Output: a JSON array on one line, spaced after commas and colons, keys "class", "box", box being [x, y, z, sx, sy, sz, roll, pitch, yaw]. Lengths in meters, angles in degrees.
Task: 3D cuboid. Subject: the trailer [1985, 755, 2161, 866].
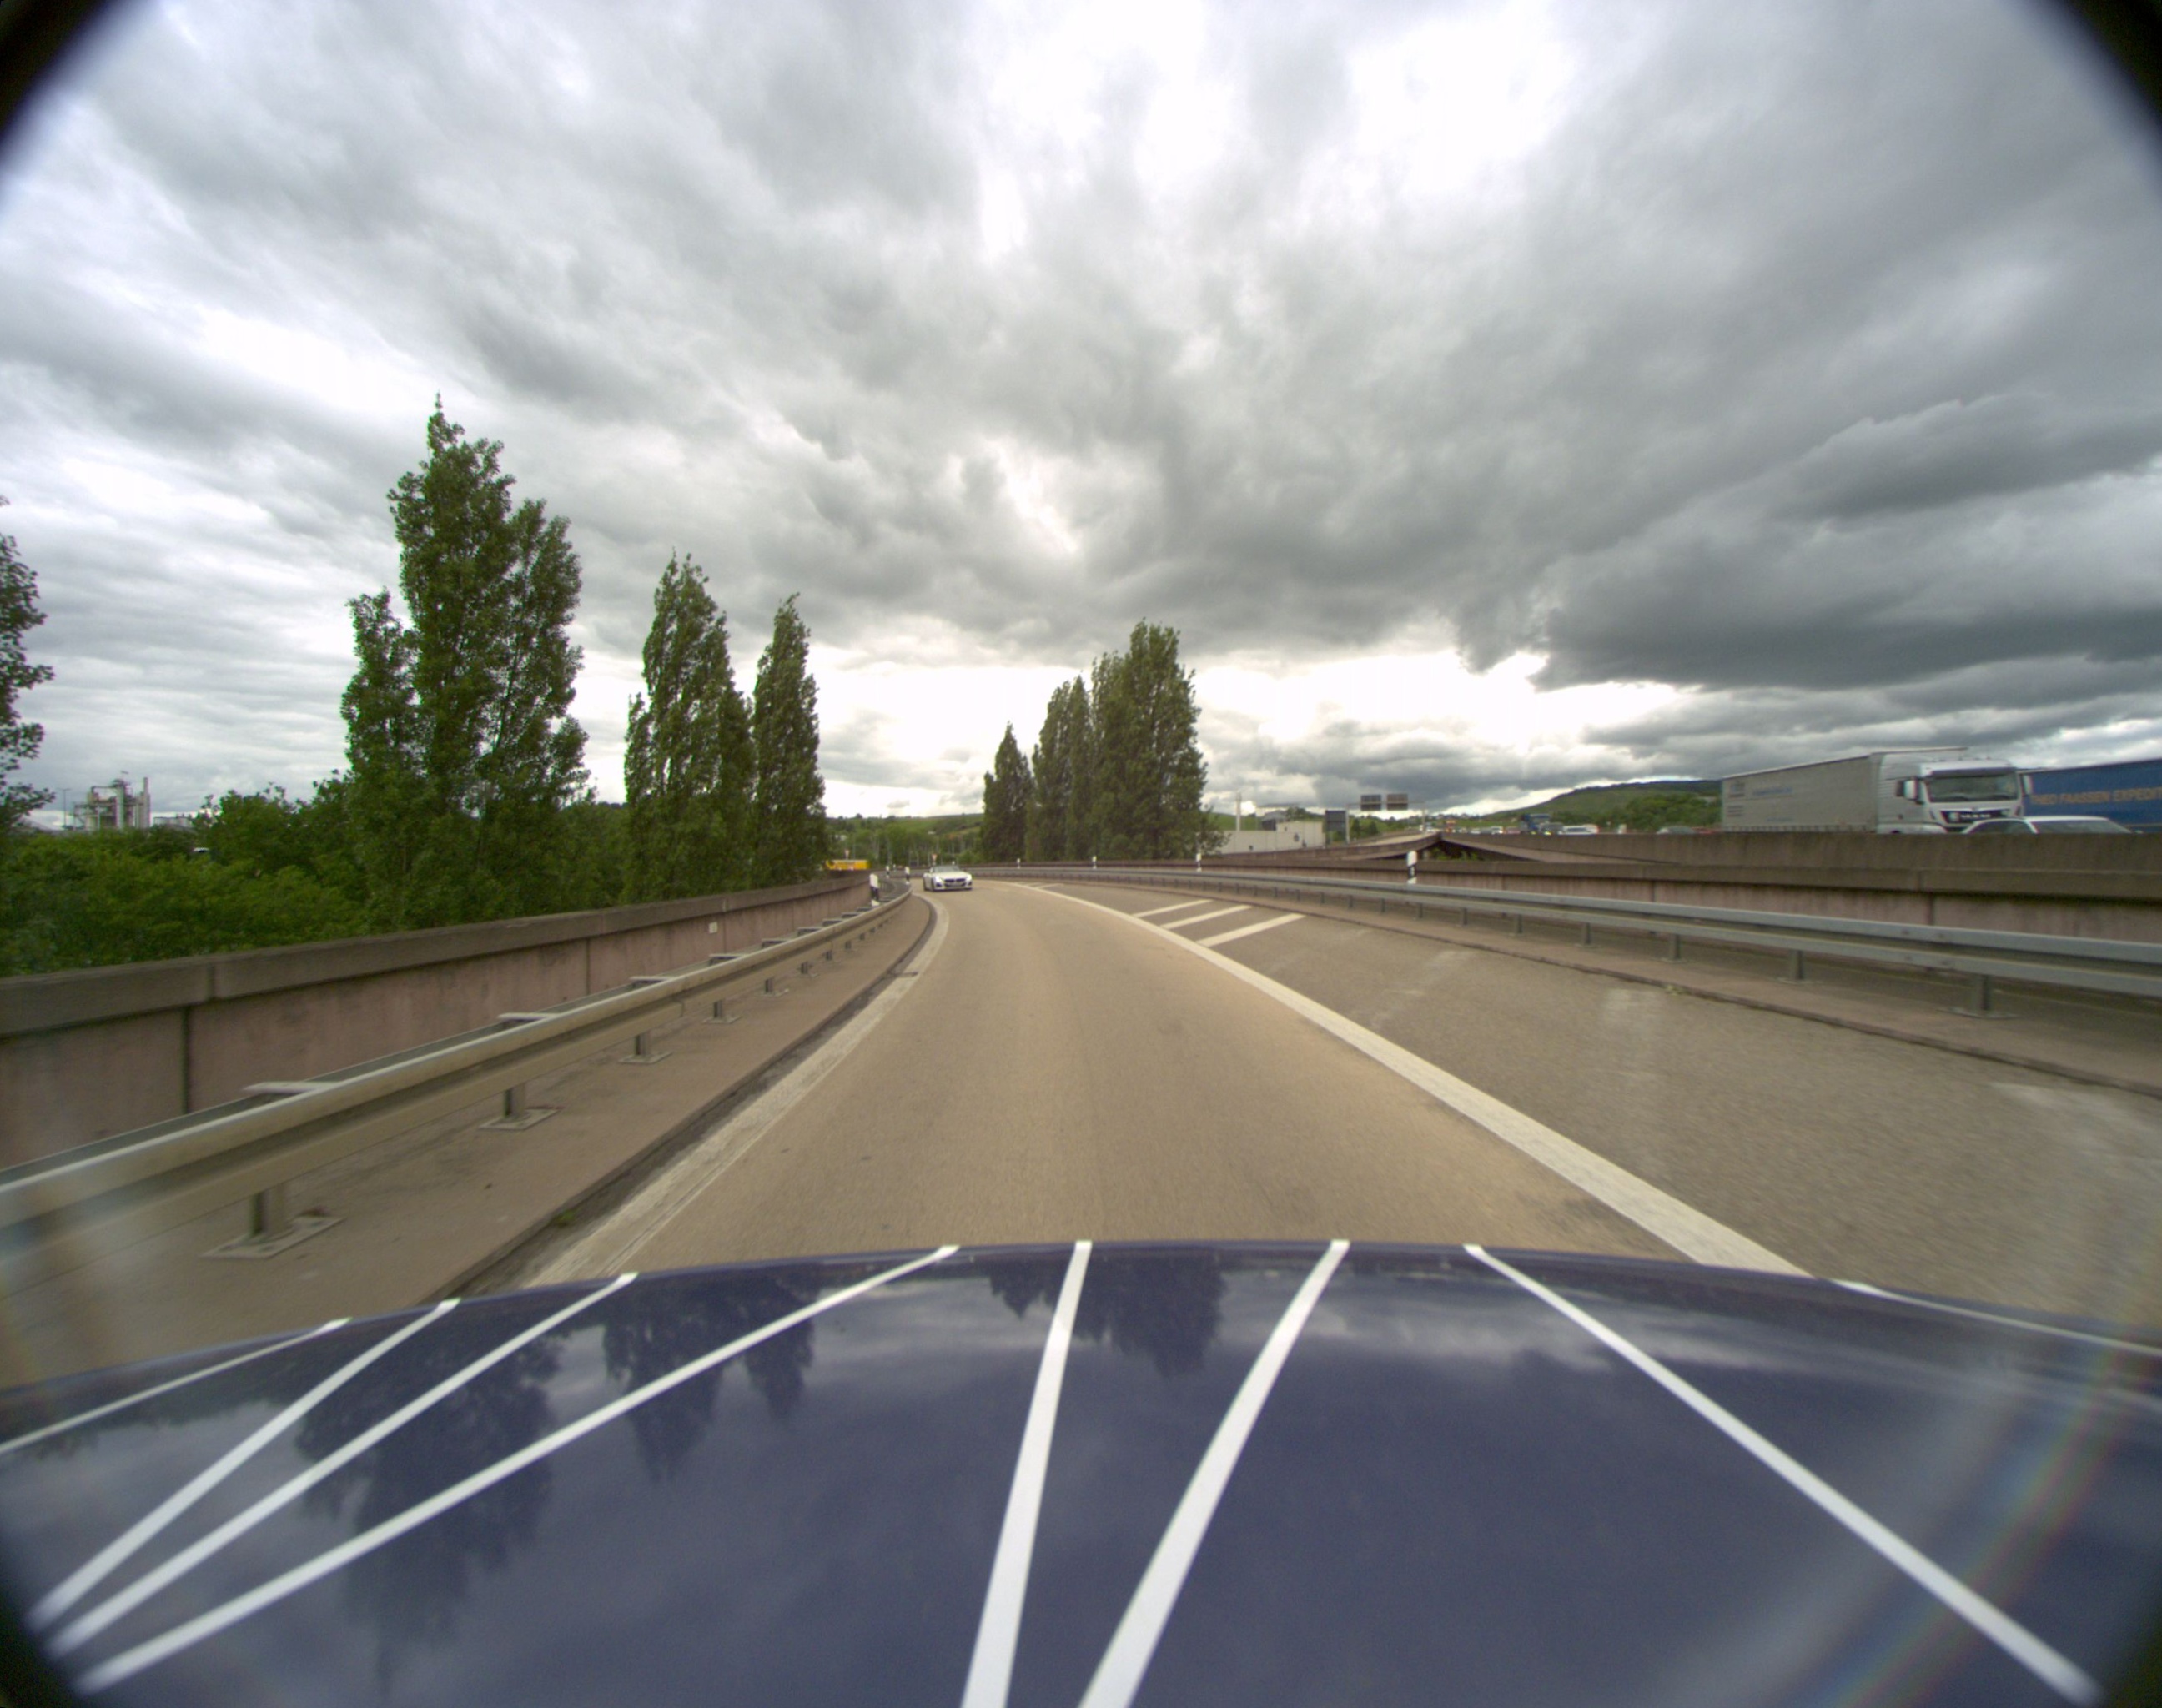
[{"class": "trailer", "box": [44.729, -1.720, 31.938, 3.164, 4.322, 12.536, 1, 1, 23]}]

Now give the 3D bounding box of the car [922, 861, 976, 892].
[{"class": "car", "box": [-6.576, 1.057, 37.563, 1.865, 1.337, 4.817, -2, 1, -19]}]

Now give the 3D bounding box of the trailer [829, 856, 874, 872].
[{"class": "trailer", "box": [-63.083, 2.827, 208.871, 11.641, 4.180, 2.636, 1, 1, 6]}]

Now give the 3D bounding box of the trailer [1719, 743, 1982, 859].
[{"class": "trailer", "box": [32.995, -2.082, 33.761, 2.859, 3.988, 13.992, -2, 1, 22]}]

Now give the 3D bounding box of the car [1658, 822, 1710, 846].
[{"class": "car", "box": [41.538, -1.374, 52.427, 1.784, 1.509, 4.006, -4, 0, 24]}]

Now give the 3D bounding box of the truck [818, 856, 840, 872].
[{"class": "truck", "box": [-69.355, 2.743, 209.539, 5.095, 4.180, 2.636, 1, 1, 6]}]

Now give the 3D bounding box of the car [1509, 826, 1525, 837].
[{"class": "car", "box": [71.771, -3.680, 125.032, 1.784, 1.509, 4.006, -4, 0, 24]}]

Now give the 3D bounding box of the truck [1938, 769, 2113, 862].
[{"class": "truck", "box": [47.510, -1.825, 38.535, 3.164, 4.322, 5.703, 1, 1, 23]}]

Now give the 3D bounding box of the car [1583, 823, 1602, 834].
[{"class": "car", "box": [77.836, -3.844, 115.661, 1.685, 1.509, 3.656, -4, 0, 24]}]

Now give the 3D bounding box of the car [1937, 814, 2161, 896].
[{"class": "car", "box": [20.978, -0.012, 16.387, 1.784, 1.509, 4.006, -3, 0, 24]}]

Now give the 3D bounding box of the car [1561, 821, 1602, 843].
[{"class": "car", "box": [40.995, -1.759, 62.305, 1.995, 1.672, 4.006, -2, 0, 22]}]

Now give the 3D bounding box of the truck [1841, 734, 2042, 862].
[{"class": "truck", "box": [30.245, -1.863, 27.022, 2.859, 3.988, 4.798, -2, 1, 22]}]

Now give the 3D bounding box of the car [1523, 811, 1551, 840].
[{"class": "car", "box": [60.954, -3.809, 101.589, 2.360, 3.639, 4.806, -4, 0, 24]}]
